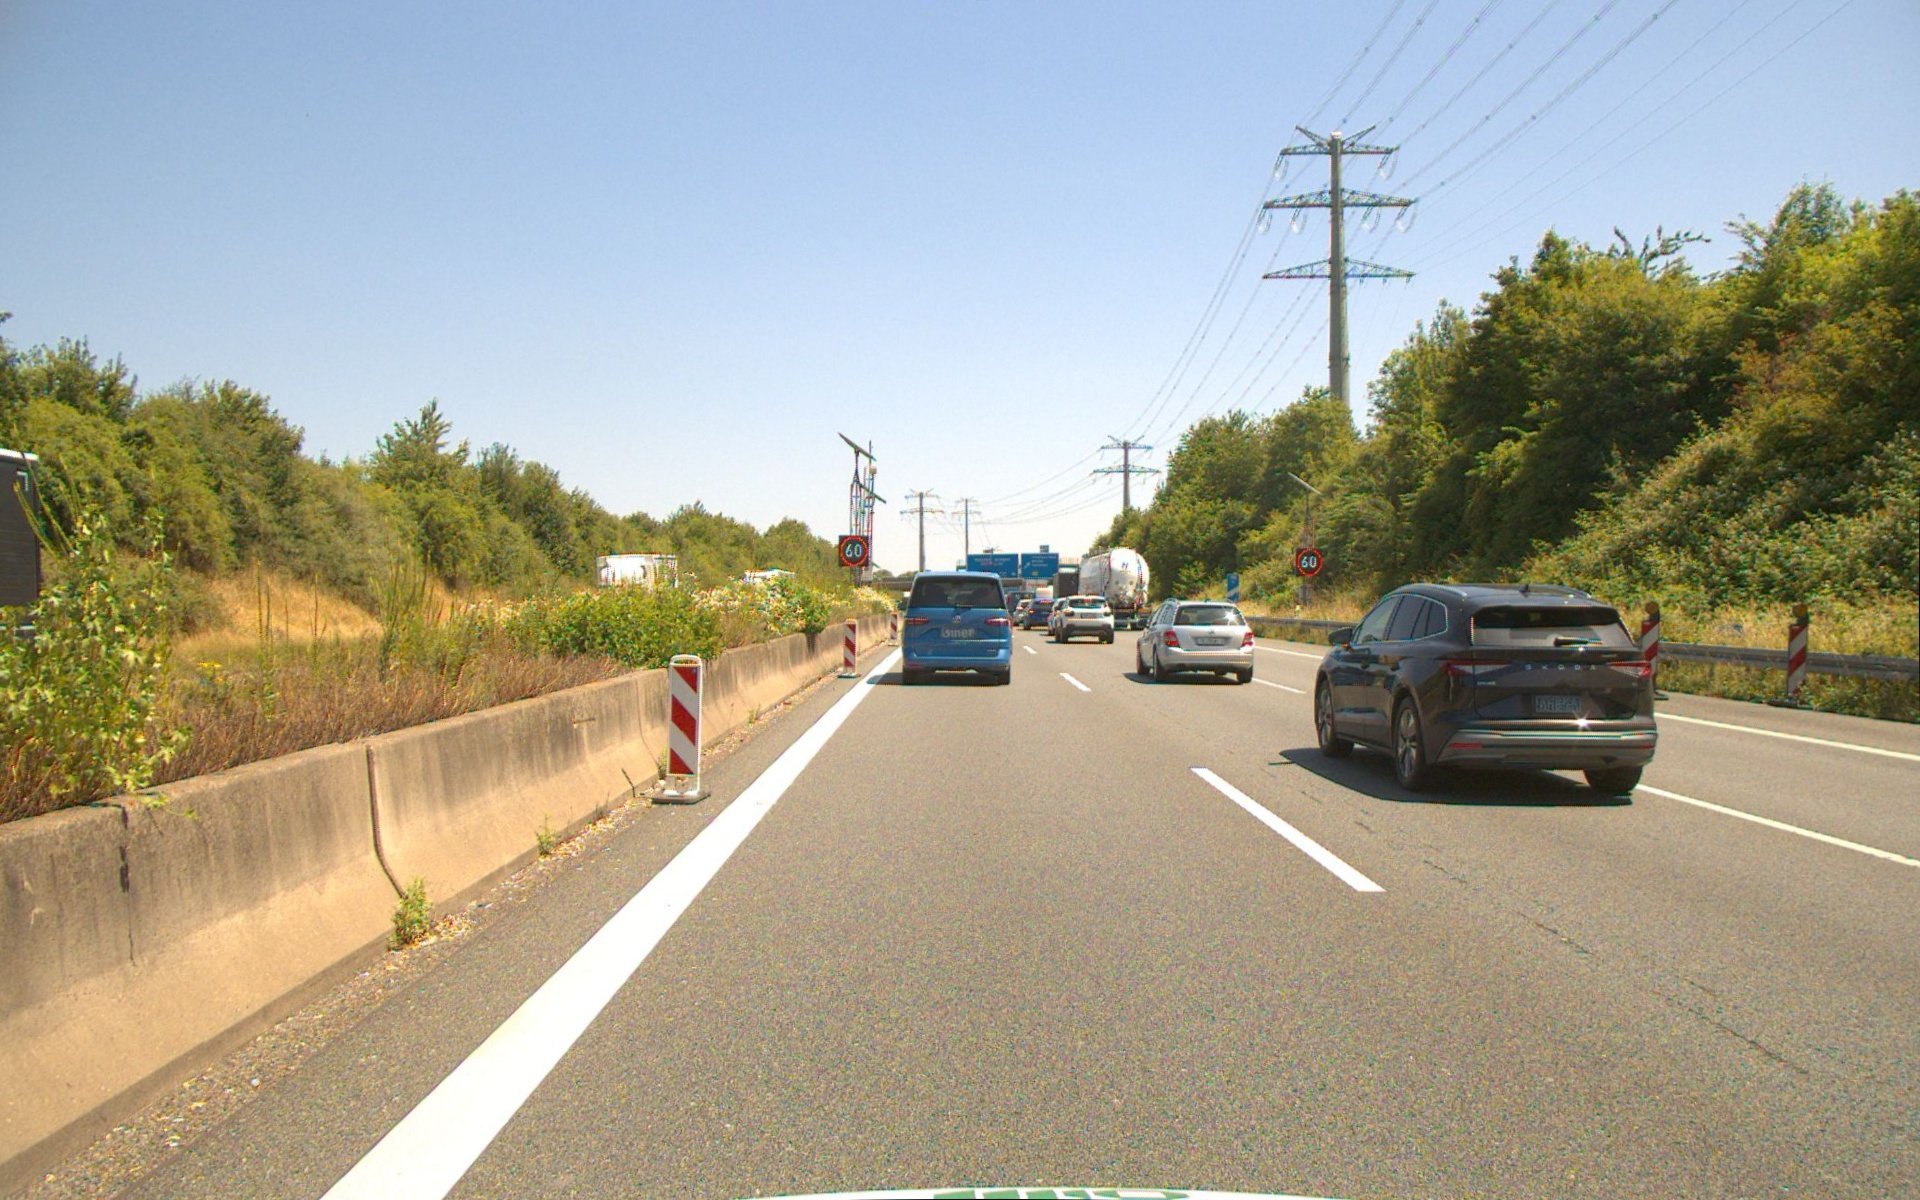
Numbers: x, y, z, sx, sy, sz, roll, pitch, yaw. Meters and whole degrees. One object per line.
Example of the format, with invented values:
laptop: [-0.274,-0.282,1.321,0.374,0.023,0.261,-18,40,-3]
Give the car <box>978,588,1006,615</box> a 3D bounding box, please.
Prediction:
car: [2.423,0.106,126.363,1.953,2.049,3.999,1,0,-1]

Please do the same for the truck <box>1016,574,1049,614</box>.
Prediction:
truck: [8.159,-0.631,187.504,2.878,4.366,12.548,1,0,-1]

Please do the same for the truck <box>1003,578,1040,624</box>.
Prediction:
truck: [3.775,0.061,102.404,1.953,2.771,5.678,1,0,-1]

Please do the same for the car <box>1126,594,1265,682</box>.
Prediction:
car: [4.260,0.650,30.584,1.784,1.462,4.382,1,0,-2]

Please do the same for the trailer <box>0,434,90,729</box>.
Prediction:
trailer: [-15.057,-0.197,18.873,2.697,4.239,14.195,-3,0,-1]

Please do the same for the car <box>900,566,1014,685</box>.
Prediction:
car: [-0.131,0.419,29.387,1.833,1.912,4.381,1,0,-2]

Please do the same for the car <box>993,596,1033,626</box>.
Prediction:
car: [2.839,0.589,89.931,1.870,1.542,4.382,1,0,-2]

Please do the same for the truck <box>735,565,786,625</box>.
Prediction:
truck: [-14.961,-0.374,124.681,2.955,4.239,5.805,-3,0,0]

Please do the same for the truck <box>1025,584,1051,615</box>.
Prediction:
truck: [7.334,-0.061,155.915,1.953,2.771,5.678,1,0,-1]

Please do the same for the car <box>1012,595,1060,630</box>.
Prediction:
car: [3.549,0.563,77.511,1.870,1.542,4.382,1,0,-2]

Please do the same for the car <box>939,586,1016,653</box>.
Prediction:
car: [0.408,0.497,43.485,1.870,1.659,4.382,0,0,-1]

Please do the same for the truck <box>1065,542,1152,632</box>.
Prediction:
truck: [7.426,-0.607,85.081,2.591,4.143,16.436,1,0,-1]

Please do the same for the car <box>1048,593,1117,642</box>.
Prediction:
car: [4.052,0.562,55.429,1.870,1.534,3.920,1,0,-2]

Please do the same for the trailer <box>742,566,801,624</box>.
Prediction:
trailer: [-14.986,-0.377,132.414,2.955,4.239,14.019,-3,0,0]

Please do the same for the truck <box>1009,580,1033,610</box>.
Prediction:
truck: [9.105,-0.709,248.005,2.878,4.366,12.548,1,0,-1]

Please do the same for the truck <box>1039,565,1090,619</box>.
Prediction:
truck: [7.449,-0.549,119.517,2.591,3.600,12.548,1,0,-1]

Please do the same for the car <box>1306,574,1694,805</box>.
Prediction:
car: [4.362,0.633,14.142,1.791,1.642,4.430,1,0,-1]

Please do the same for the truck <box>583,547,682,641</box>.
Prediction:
truck: [-15.062,-0.256,76.741,2.707,3.956,9.028,-3,0,-1]

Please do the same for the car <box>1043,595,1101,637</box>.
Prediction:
car: [4.479,0.626,66.763,1.870,1.597,4.382,1,0,-2]
